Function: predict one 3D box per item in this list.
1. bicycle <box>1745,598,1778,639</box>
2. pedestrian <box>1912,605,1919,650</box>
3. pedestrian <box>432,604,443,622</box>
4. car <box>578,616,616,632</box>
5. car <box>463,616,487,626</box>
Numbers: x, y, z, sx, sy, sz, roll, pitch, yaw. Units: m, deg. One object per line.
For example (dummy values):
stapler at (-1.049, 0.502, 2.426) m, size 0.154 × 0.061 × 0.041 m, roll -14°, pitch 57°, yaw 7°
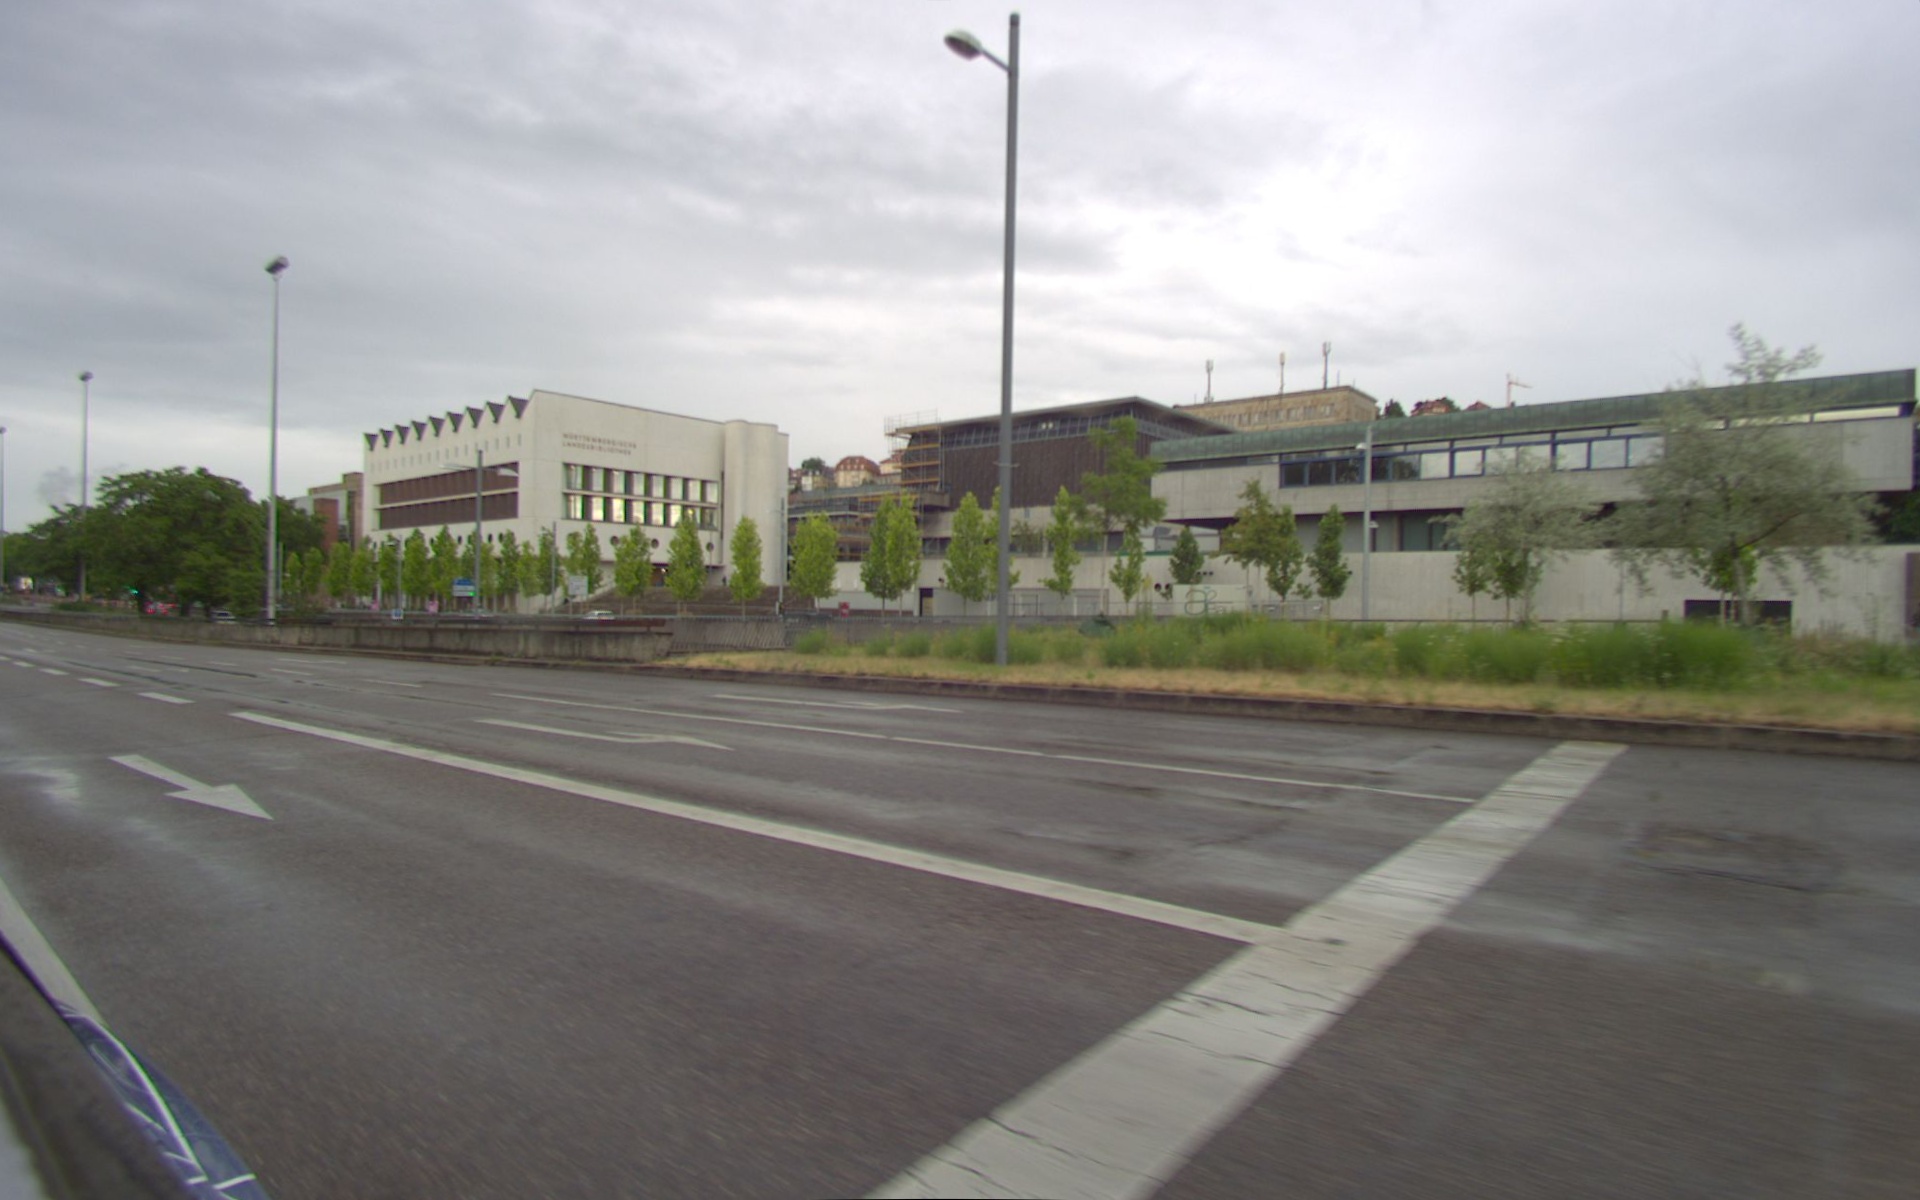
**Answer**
bicycle at (26.880, 0.595, 33.963) m, size 0.555 × 1.317 × 1.468 m, roll 0°, pitch 1°, yaw 27°
pedestrian at (30.070, 0.846, 31.420) m, size 0.460 × 1.393 × 0.579 m, roll 0°, pitch 1°, yaw -23°
pedestrian at (-57.775, 1.444, 111.874) m, size 1.070 × 1.880 × 0.832 m, roll -1°, pitch 1°, yaw -30°
car at (-27.400, 1.805, 76.293) m, size 3.020 × 1.122 × 1.425 m, roll 1°, pitch 1°, yaw 41°
car at (-41.430, 1.800, 86.478) m, size 2.550 × 0.751 × 0.811 m, roll 1°, pitch 1°, yaw 38°
